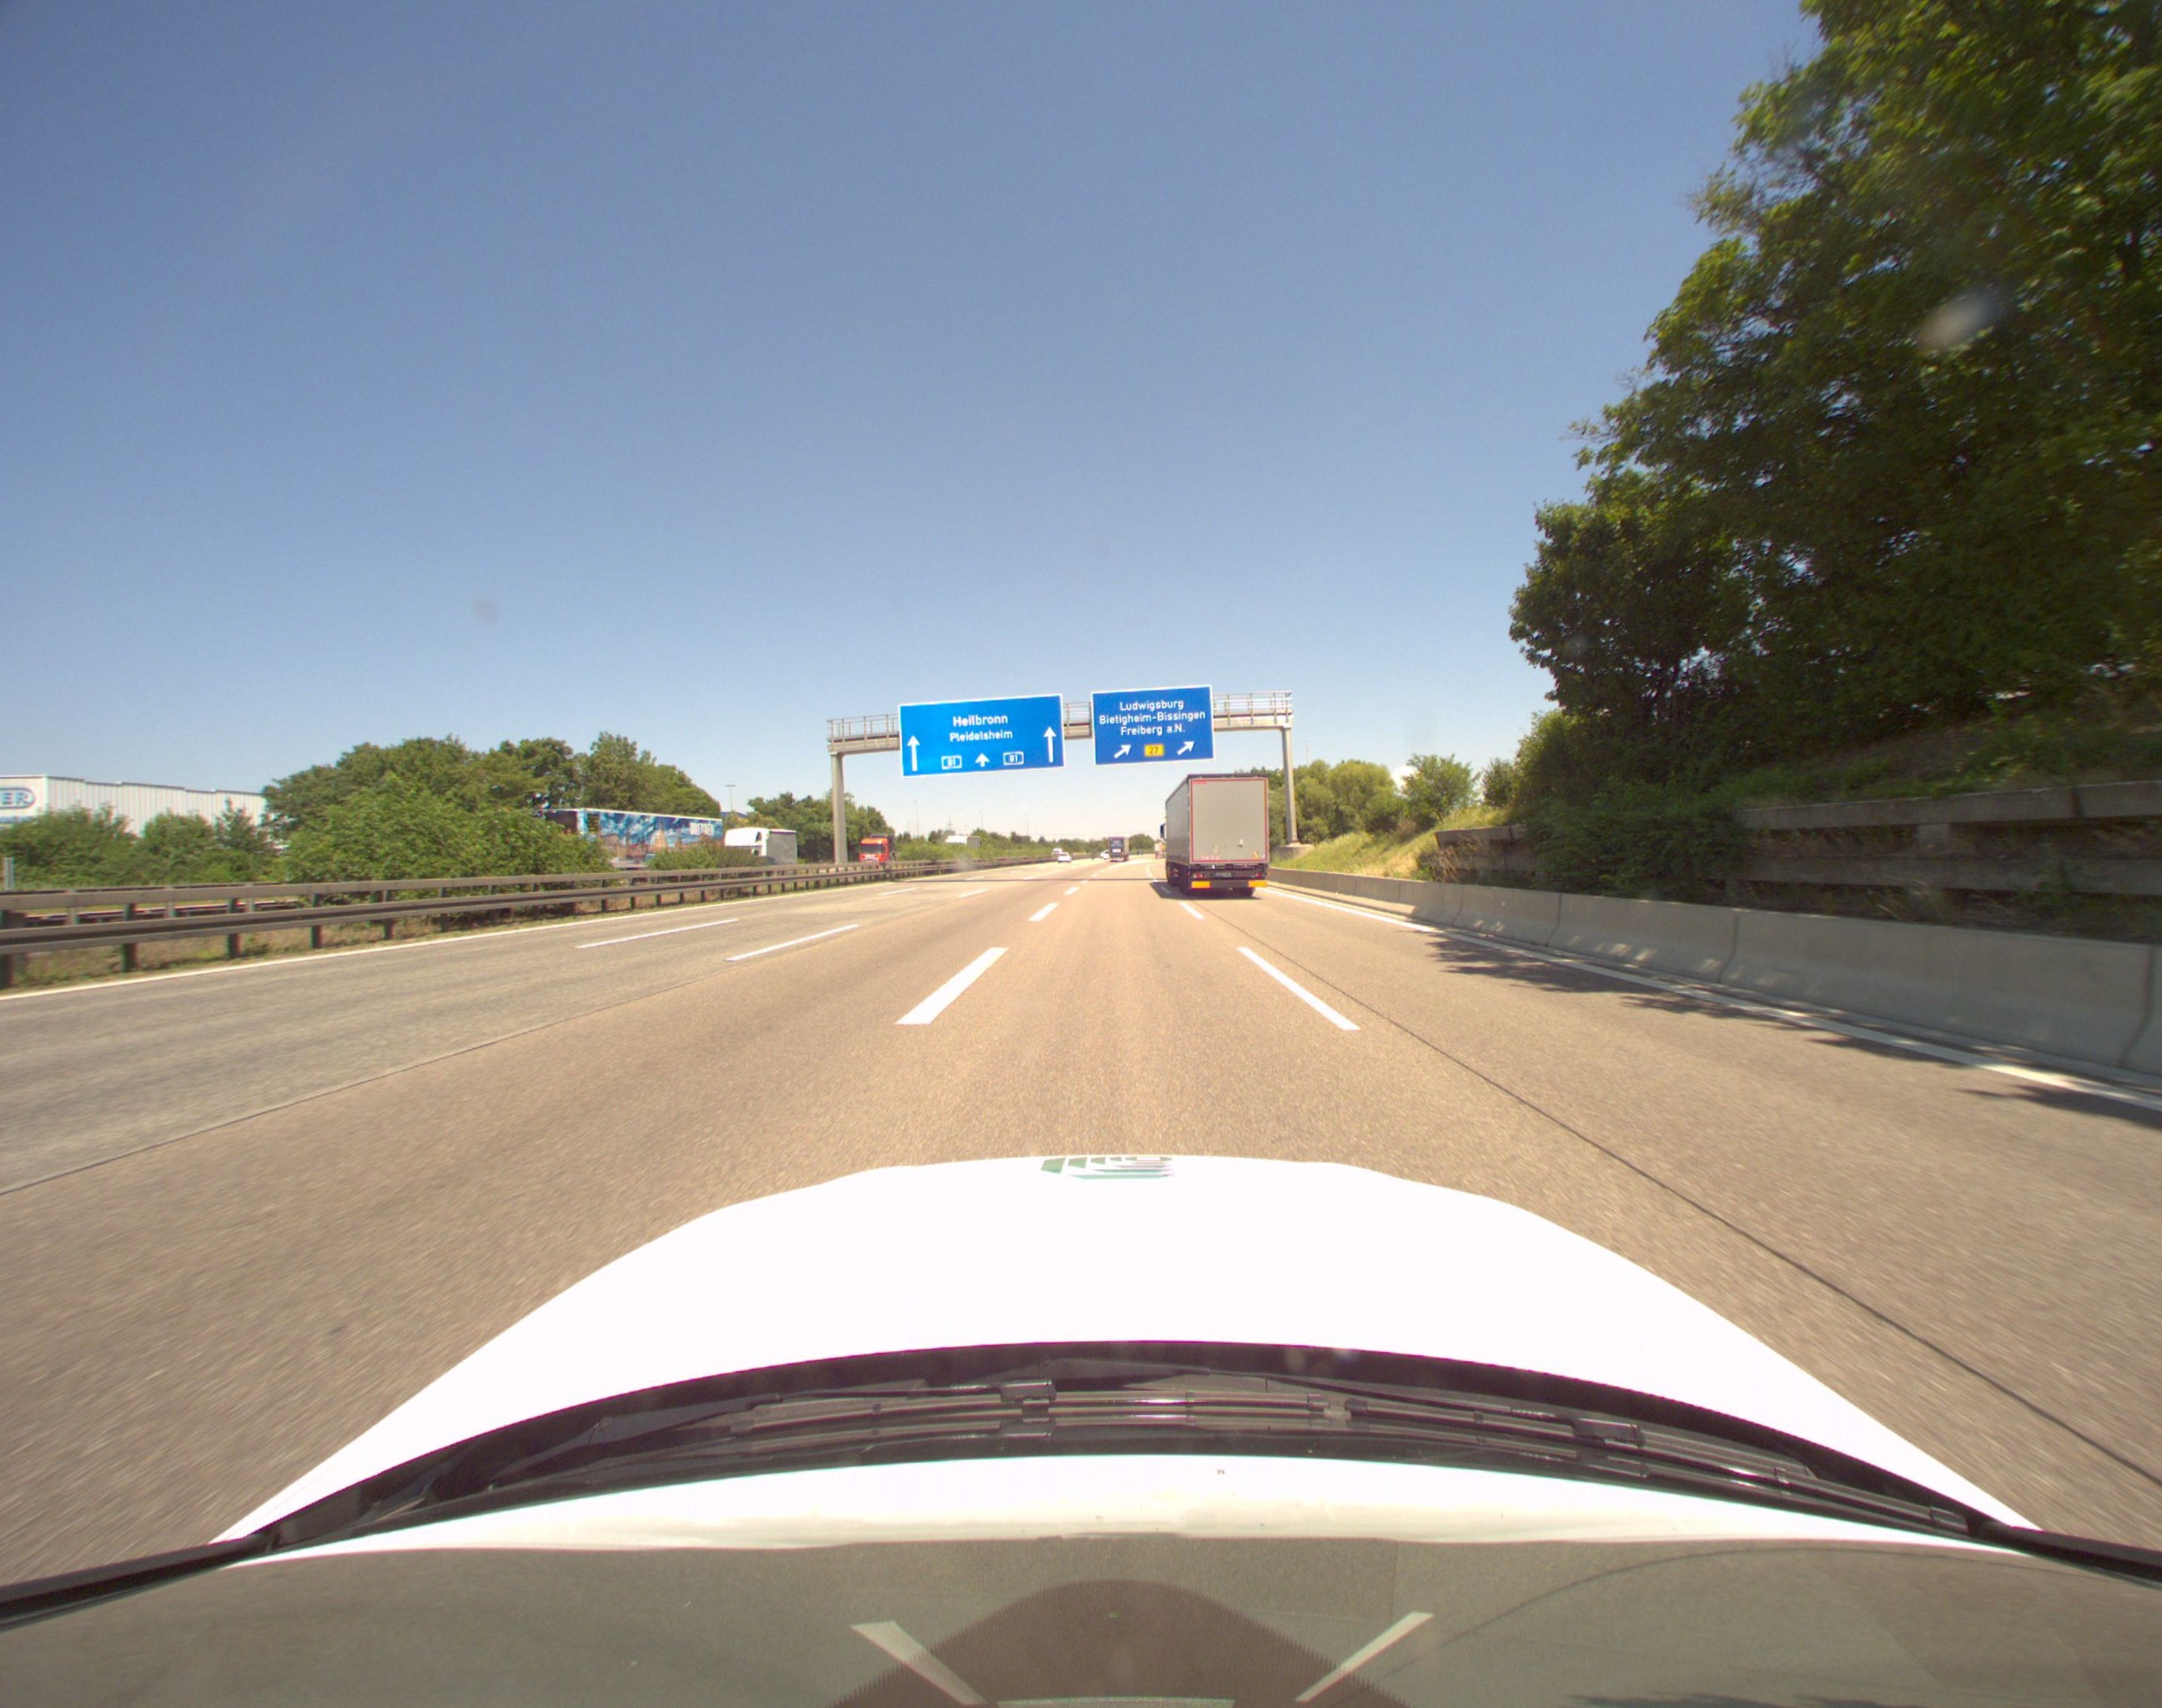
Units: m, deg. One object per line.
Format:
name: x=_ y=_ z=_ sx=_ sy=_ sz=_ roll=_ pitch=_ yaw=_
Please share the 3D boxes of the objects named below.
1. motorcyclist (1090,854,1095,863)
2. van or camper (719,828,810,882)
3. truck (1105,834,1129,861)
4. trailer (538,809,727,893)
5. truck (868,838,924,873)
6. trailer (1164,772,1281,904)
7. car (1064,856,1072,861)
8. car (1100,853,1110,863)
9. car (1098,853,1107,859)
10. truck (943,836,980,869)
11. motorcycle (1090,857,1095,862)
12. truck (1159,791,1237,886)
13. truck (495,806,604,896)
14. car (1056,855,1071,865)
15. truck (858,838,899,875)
motorcyclist: x=2.349 y=0.894 z=164.919 sx=0.889 sy=1.597 sz=1.300 roll=-2 pitch=1 yaw=3
van or camper: x=-20.288 y=0.064 z=52.747 sx=2.464 sy=3.220 sz=7.827 roll=-1 pitch=0 yaw=3
truck: x=6.175 y=-1.020 z=137.513 sx=3.731 sy=4.270 sz=14.507 roll=-1 pitch=0 yaw=3
trailer: x=-24.131 y=-0.139 z=45.296 sx=1.985 sy=3.922 sz=14.014 roll=-1 pitch=0 yaw=3
truck: x=-21.213 y=0.147 z=94.231 sx=2.740 sy=3.793 sz=12.342 roll=-1 pitch=0 yaw=4
trailer: x=5.035 y=-0.625 z=31.431 sx=2.916 sy=4.015 sz=12.049 roll=-2 pitch=1 yaw=3
car: x=-3.424 y=1.177 z=219.214 sx=1.773 sy=1.440 sz=4.675 roll=-1 pitch=-1 yaw=5
car: x=4.943 y=0.821 z=166.662 sx=1.922 sy=1.852 sz=4.696 roll=-2 pitch=-2 yaw=4
car: x=5.094 y=0.507 z=194.306 sx=1.867 sy=1.440 sz=5.132 roll=-2 pitch=-1 yaw=5
truck: x=-15.988 y=-0.158 z=109.978 sx=2.740 sy=4.207 sz=10.414 roll=-1 pitch=0 yaw=4
motorcycle: x=2.354 y=1.132 z=164.974 sx=0.909 sy=1.089 sz=2.852 roll=-2 pitch=0 yaw=3
truck: x=5.463 y=-0.751 z=39.183 sx=2.916 sy=4.015 sz=7.590 roll=-2 pitch=1 yaw=3
truck: x=-24.541 y=-0.142 z=37.835 sx=1.985 sy=3.896 sz=4.345 roll=-1 pitch=0 yaw=3
car: x=-2.638 y=0.896 z=124.327 sx=1.774 sy=1.440 sz=4.674 roll=-1 pitch=-1 yaw=4
truck: x=-21.715 y=0.272 z=87.639 sx=2.740 sy=3.793 sz=5.108 roll=-1 pitch=0 yaw=4
